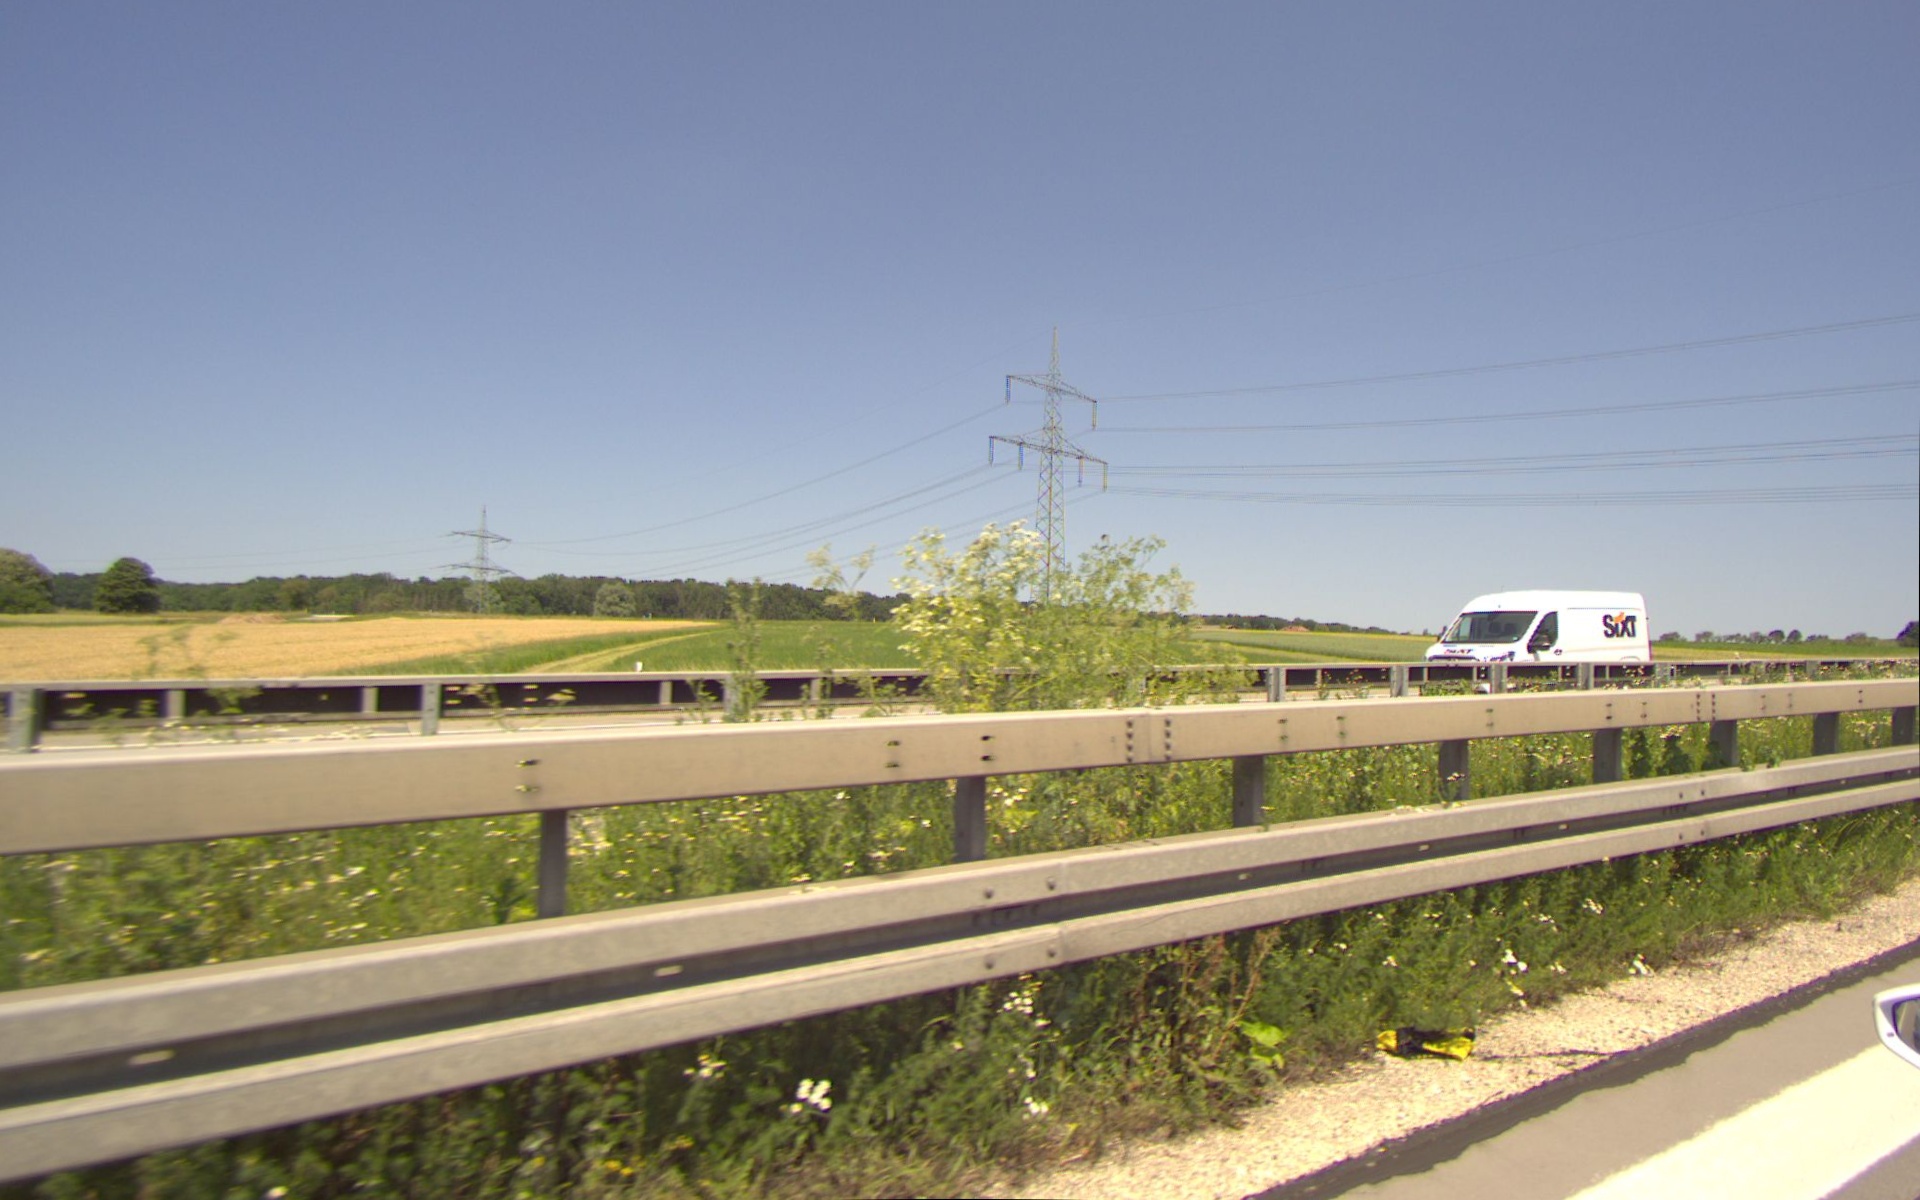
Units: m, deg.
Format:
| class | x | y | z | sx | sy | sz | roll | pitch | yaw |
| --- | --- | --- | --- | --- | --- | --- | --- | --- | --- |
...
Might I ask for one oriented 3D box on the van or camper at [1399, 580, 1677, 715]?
| class | x | y | z | sx | sy | sz | roll | pitch | yaw |
| --- | --- | --- | --- | --- | --- | --- | --- | --- | --- |
| van or camper | 12.491 | 0.960 | 21.530 | 6.520 | 2.542 | 2.216 | 1 | 0 | -31 |
